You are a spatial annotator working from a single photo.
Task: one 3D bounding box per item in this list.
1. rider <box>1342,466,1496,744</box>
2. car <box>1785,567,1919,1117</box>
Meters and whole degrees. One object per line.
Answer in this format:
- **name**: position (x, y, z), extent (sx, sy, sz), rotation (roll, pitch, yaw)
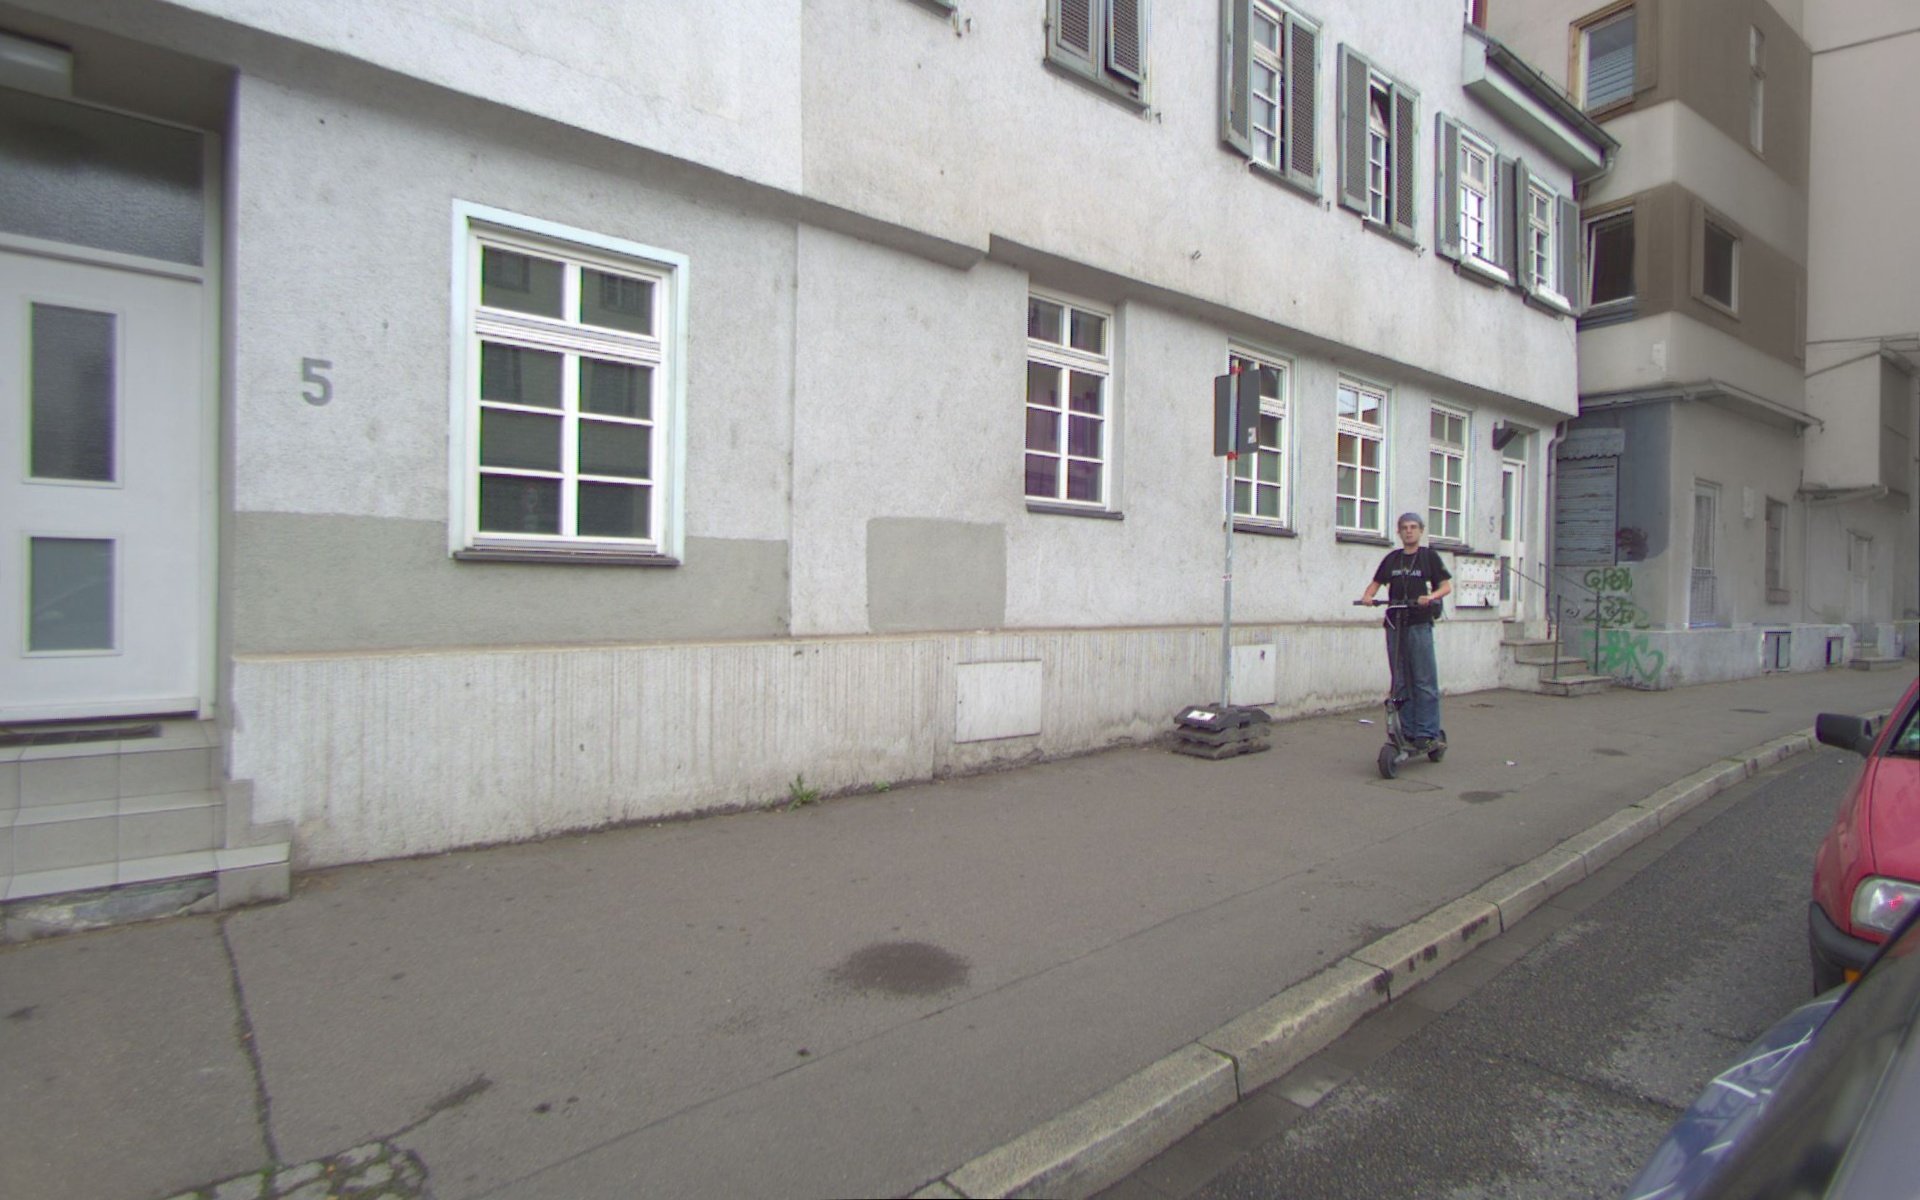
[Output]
- **rider**: position (3.324, 0.023, 7.335), extent (0.783, 1.870, 0.719), rotation (1, 1, -41)
- **car**: position (4.405, 0.676, 3.488), extent (3.929, 1.444, 1.791), rotation (1, 0, -41)
